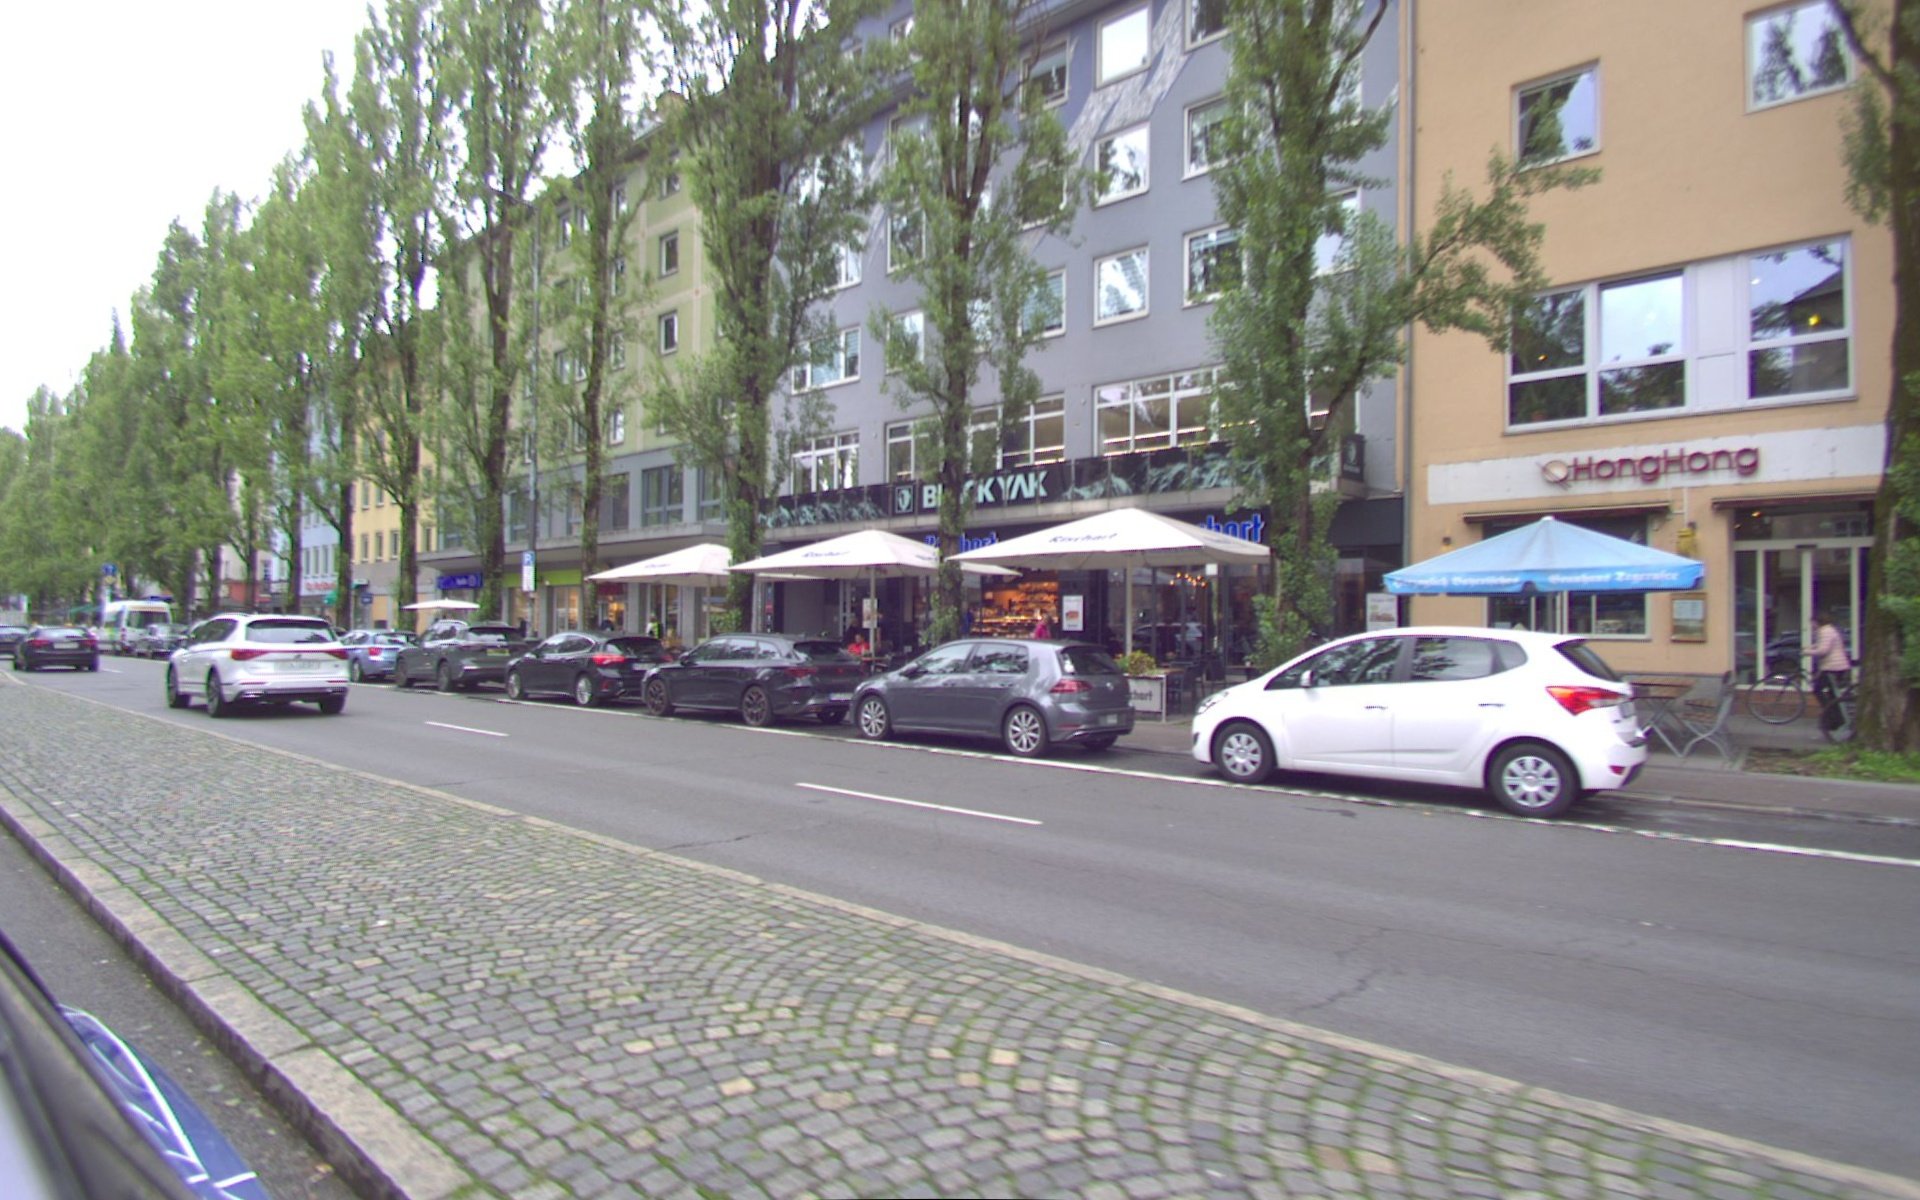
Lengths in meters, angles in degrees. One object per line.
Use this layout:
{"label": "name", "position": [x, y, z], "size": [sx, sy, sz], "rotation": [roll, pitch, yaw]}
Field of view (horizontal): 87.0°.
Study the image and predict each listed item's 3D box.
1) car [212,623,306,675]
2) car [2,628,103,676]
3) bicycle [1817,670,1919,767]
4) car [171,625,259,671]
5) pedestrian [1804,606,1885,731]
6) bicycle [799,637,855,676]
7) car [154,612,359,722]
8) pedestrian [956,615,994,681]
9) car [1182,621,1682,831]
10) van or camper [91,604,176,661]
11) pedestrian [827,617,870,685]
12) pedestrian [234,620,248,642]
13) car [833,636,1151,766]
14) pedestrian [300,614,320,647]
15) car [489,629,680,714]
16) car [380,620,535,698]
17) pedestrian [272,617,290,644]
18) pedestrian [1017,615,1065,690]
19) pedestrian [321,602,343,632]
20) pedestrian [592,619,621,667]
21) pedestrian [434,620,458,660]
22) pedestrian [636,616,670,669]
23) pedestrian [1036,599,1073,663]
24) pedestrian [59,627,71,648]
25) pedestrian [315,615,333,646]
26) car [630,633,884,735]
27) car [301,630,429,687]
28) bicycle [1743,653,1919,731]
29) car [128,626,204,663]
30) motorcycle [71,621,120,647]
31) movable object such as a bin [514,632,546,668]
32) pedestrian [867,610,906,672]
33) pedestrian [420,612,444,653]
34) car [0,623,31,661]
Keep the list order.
{"label": "car", "position": [-24.589, 1.703, 35.474], "size": [3.767, 1.699, 1.601], "rotation": [-1, -4, 39]}
{"label": "car", "position": [-28.460, 1.614, 31.705], "size": [4.174, 1.372, 1.817], "rotation": [-1, -4, 41]}
{"label": "bicycle", "position": [10.210, 1.284, 11.020], "size": [0.320, 0.966, 1.536], "rotation": [0, -2, -6]}
{"label": "car", "position": [-28.411, 1.802, 38.544], "size": [4.501, 1.645, 1.685], "rotation": [-1, -3, 41]}
{"label": "pedestrian", "position": [12.387, 0.942, 14.202], "size": [0.801, 1.681, 0.772], "rotation": [-1, -2, 40]}
{"label": "bicycle", "position": [-3.909, 1.641, 29.748], "size": [1.575, 1.105, 0.612], "rotation": [-1, -2, 30]}
{"label": "car", "position": [-12.182, 1.090, 17.404], "size": [4.574, 1.648, 1.824], "rotation": [-1, -4, 42]}
{"label": "pedestrian", "position": [0.404, 1.292, 27.531], "size": [0.755, 1.768, 0.733], "rotation": [-2, -2, 41]}
{"label": "car", "position": [4.394, 1.037, 9.806], "size": [4.094, 1.595, 1.685], "rotation": [-1, -3, 41]}
{"label": "van or camper", "position": [-40.027, 1.543, 48.938], "size": [6.641, 2.570, 2.103], "rotation": [-1, -2, 42]}
{"label": "pedestrian", "position": [-2.727, 1.238, 24.839], "size": [0.742, 1.614, 0.746], "rotation": [-1, -2, 40]}
{"label": "pedestrian", "position": [-46.913, 2.016, 66.054], "size": [0.551, 1.449, 0.601], "rotation": [-2, -2, 43]}
{"label": "car", "position": [0.296, 1.212, 13.301], "size": [4.184, 1.392, 1.478], "rotation": [-1, -3, 41]}
{"label": "pedestrian", "position": [-35.635, 1.668, 55.486], "size": [0.723, 1.779, 0.723], "rotation": [-1, -2, 40]}
{"label": "car", "position": [-7.577, 1.359, 20.232], "size": [4.368, 1.477, 1.659], "rotation": [-1, -3, 41]}
{"label": "car", "position": [-12.141, 1.355, 24.315], "size": [4.585, 1.693, 1.761], "rotation": [-1, -3, 42]}
{"label": "pedestrian", "position": [-37.354, 1.677, 55.674], "size": [0.551, 1.449, 0.640], "rotation": [-1, -2, 42]}
{"label": "pedestrian", "position": [1.780, 1.141, 22.168], "size": [0.756, 1.614, 0.732], "rotation": [-2, -3, 43]}
{"label": "pedestrian", "position": [-31.516, 0.857, 50.783], "size": [0.550, 1.449, 0.759], "rotation": [-1, -2, 36]}
{"label": "pedestrian", "position": [-12.739, 1.540, 36.474], "size": [0.755, 1.685, 0.701], "rotation": [-1, -2, 41]}
{"label": "pedestrian", "position": [-23.291, 1.798, 45.882], "size": [0.715, 1.808, 0.739], "rotation": [-1, -2, 41]}
{"label": "pedestrian", "position": [-10.473, 1.431, 34.518], "size": [0.755, 1.768, 0.810], "rotation": [-1, -2, 41]}
{"label": "pedestrian", "position": [2.713, 0.889, 29.066], "size": [0.743, 1.818, 0.772], "rotation": [-2, -3, 43]}
{"label": "pedestrian", "position": [-68.804, 2.870, 77.793], "size": [0.600, 1.601, 0.552], "rotation": [2, -3, -38]}
{"label": "pedestrian", "position": [-35.307, 1.692, 56.158], "size": [0.723, 1.717, 0.632], "rotation": [-2, -2, 41]}
{"label": "car", "position": [-3.441, 1.292, 16.679], "size": [4.430, 1.423, 1.686], "rotation": [-1, -3, 40]}
{"label": "car", "position": [-16.544, 1.584, 28.059], "size": [4.397, 1.428, 1.641], "rotation": [-1, -3, 40]}
{"label": "bicycle", "position": [12.490, 1.290, 14.512], "size": [1.956, 1.010, 0.437], "rotation": [-1, -2, 43]}
{"label": "car", "position": [-34.783, 1.934, 44.289], "size": [4.257, 1.541, 1.686], "rotation": [-1, -3, 39]}
{"label": "motorcycle", "position": [-49.649, 1.947, 58.139], "size": [0.569, 1.432, 2.000], "rotation": [-1, -2, 34]}
{"label": "movable object such as a bin", "position": [-13.043, 1.509, 30.732], "size": [0.654, 1.055, 0.729], "rotation": [0, -2, 1]}
{"label": "pedestrian", "position": [-1.972, 1.099, 27.241], "size": [0.756, 1.653, 0.732], "rotation": [-2, -3, 43]}
{"label": "pedestrian", "position": [-23.687, 1.466, 45.413], "size": [0.715, 1.808, 0.739], "rotation": [-1, -2, 41]}
{"label": "car", "position": [-39.271, 1.669, 41.185], "size": [4.049, 1.476, 1.738], "rotation": [-1, -4, 42]}
